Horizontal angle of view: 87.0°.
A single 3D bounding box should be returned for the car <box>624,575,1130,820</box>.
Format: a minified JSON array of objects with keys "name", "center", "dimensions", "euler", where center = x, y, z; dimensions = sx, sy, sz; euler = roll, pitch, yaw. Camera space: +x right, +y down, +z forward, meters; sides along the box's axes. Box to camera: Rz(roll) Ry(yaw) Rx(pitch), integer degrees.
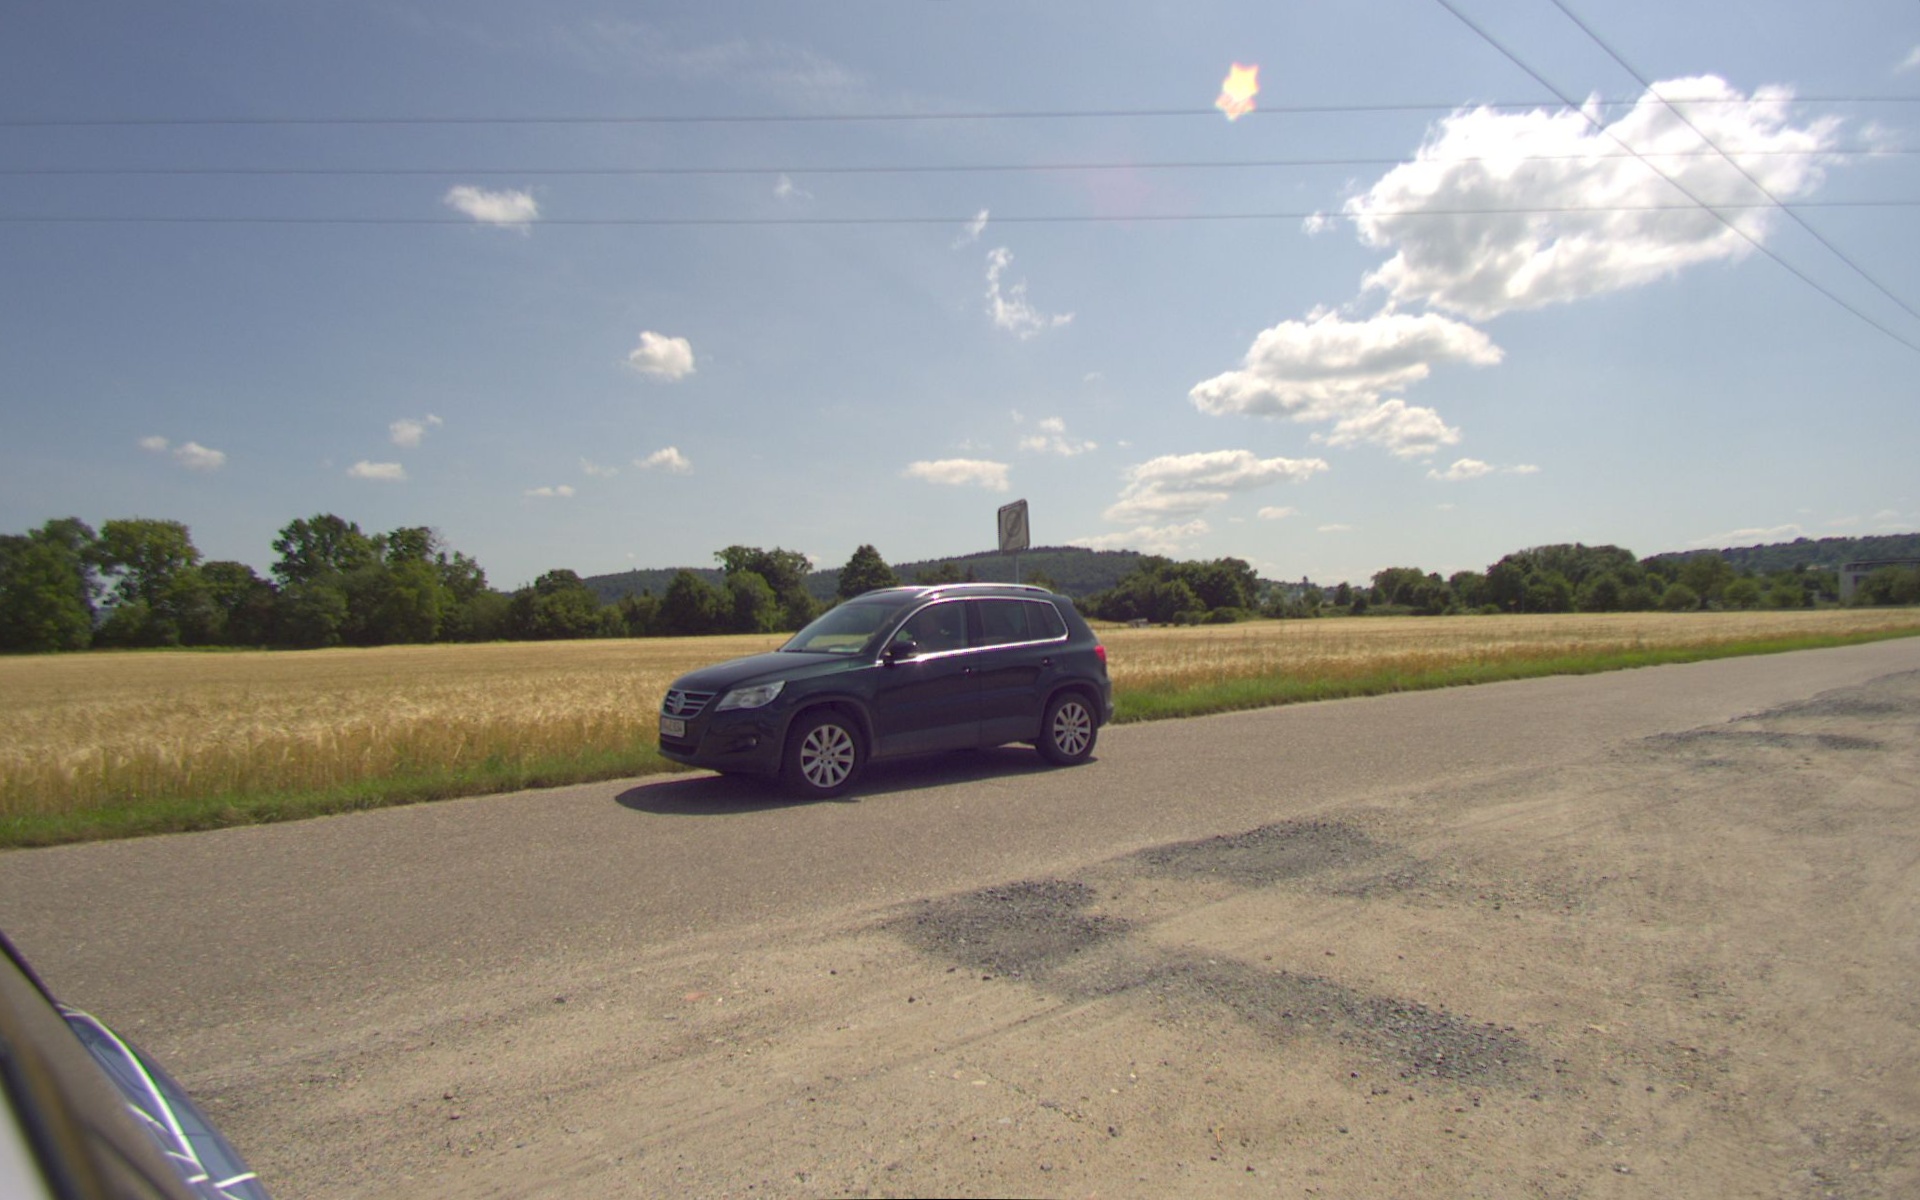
[{"name":"car","center":[-0.594,0.691,8.980],"dimensions":[4.186,1.692,1.753],"euler":[0,-2,-38]}]
